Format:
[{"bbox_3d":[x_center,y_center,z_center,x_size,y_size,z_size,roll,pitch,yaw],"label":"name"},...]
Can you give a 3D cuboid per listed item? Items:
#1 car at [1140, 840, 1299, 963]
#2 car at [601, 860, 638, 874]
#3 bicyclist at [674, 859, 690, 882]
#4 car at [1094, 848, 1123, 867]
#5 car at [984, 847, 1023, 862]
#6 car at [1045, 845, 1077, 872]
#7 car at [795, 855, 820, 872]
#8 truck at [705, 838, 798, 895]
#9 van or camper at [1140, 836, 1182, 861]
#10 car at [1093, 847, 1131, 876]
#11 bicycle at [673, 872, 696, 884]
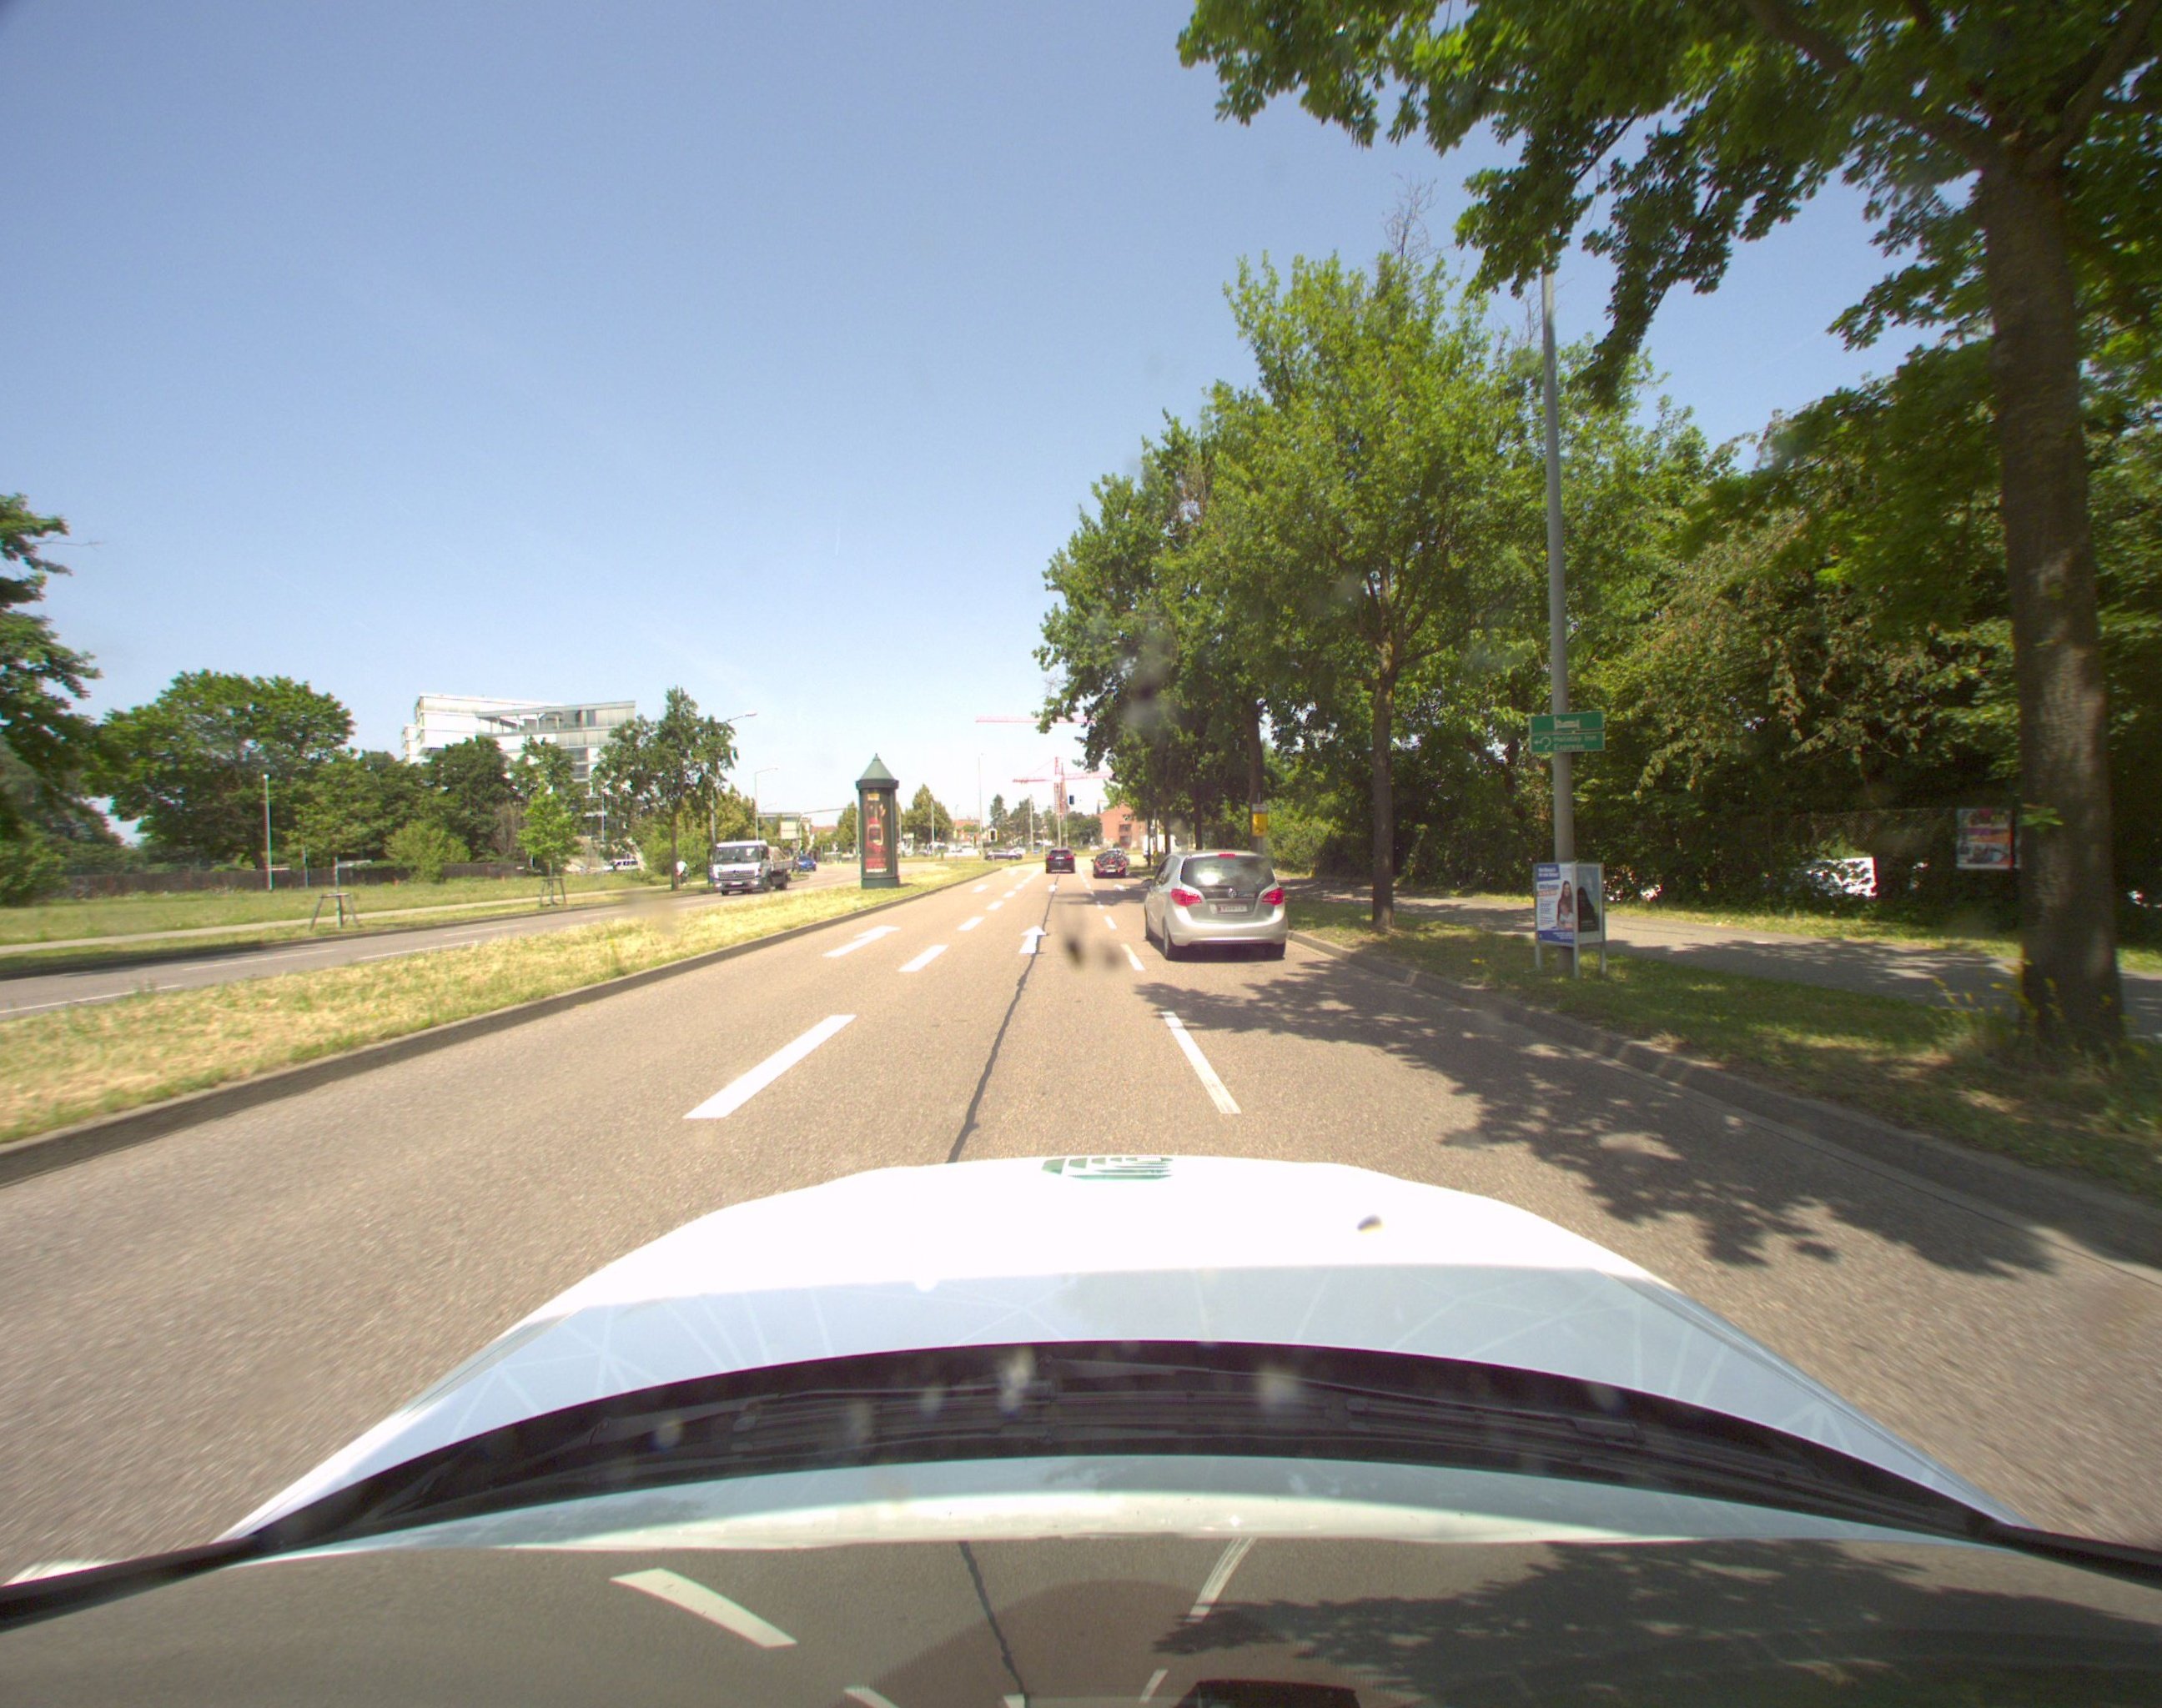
[{"bbox_3d":[2.029,0.629,13.020,1.787,1.612,3.889,-2,0,-1],"label":"car"},{"bbox_3d":[-68.690,1.987,121.311,1.974,1.878,4.316,-2,0,29],"label":"car"},{"bbox_3d":[-25.536,1.054,52.149,0.620,1.489,0.757,-2,0,2],"label":"bicyclist"},{"bbox_3d":[2.134,0.220,62.580,1.645,1.356,4.471,-2,0,8],"label":"car"},{"bbox_3d":[-8.332,0.079,87.547,3.974,1.453,2.000,-2,0,0],"label":"car"},{"bbox_3d":[-1.289,0.273,54.477,1.991,1.689,4.034,-1,1,0],"label":"car"},{"bbox_3d":[-27.630,0.909,82.162,2.002,1.596,3.969,-2,0,-23],"label":"car"},{"bbox_3d":[-16.574,0.576,41.386,2.635,2.576,6.305,-2,0,-6],"label":"truck"},{"bbox_3d":[7.837,-0.600,79.241,2.470,2.291,4.950,-2,0,25],"label":"van or camper"},{"bbox_3d":[1.707,0.391,45.980,2.007,1.517,4.462,-2,0,1],"label":"car"},{"bbox_3d":[-25.495,1.551,52.386,0.479,0.715,1.851,-2,0,2],"label":"bicycle"}]
